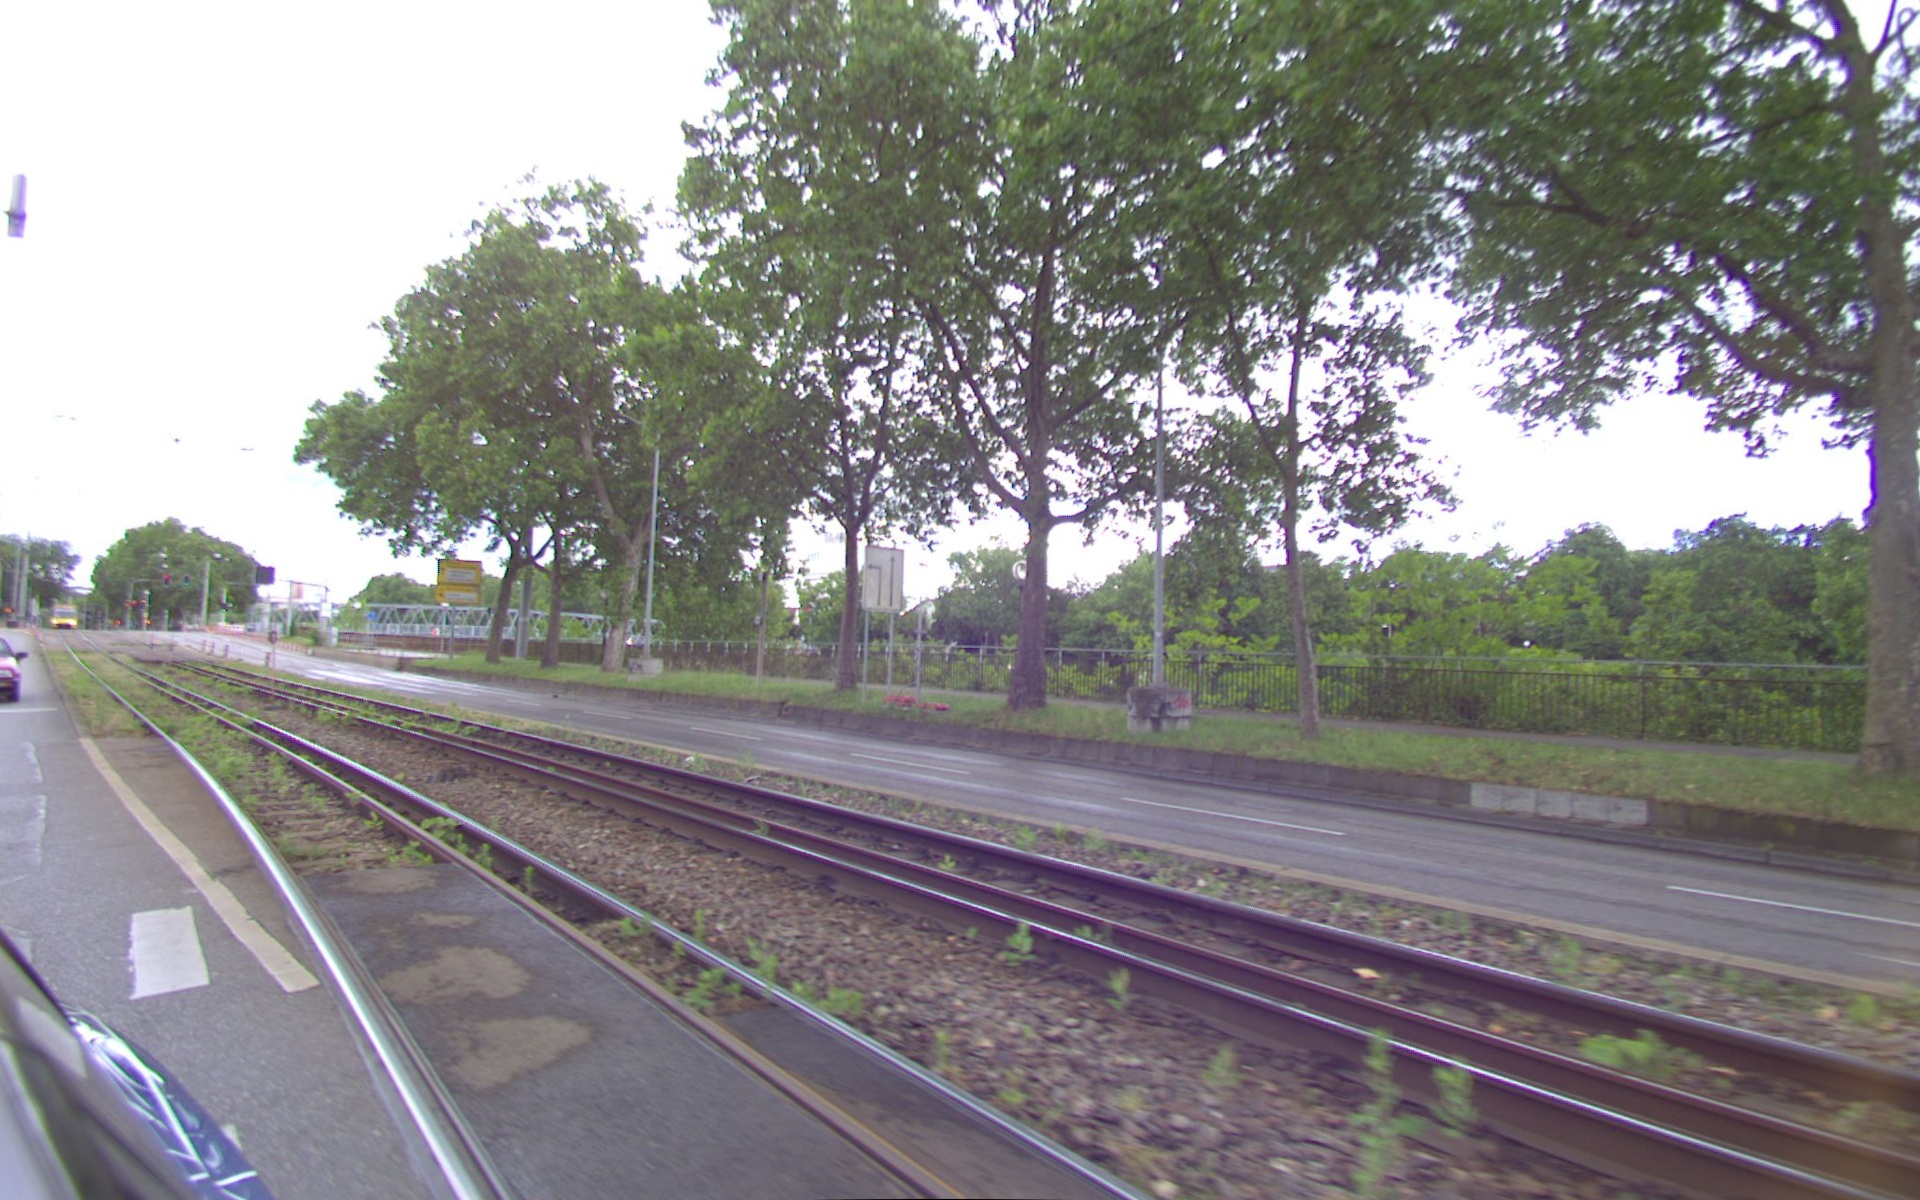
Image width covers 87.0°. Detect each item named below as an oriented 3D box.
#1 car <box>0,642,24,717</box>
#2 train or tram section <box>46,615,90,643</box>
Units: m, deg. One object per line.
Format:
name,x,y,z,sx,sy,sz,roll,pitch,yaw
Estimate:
car,-20.920,1.637,21.341,1.657,1.453,4.123,3,-3,-43
train or tram section,-125.080,4.052,141.776,3.686,3.391,17.572,7,-5,-43
